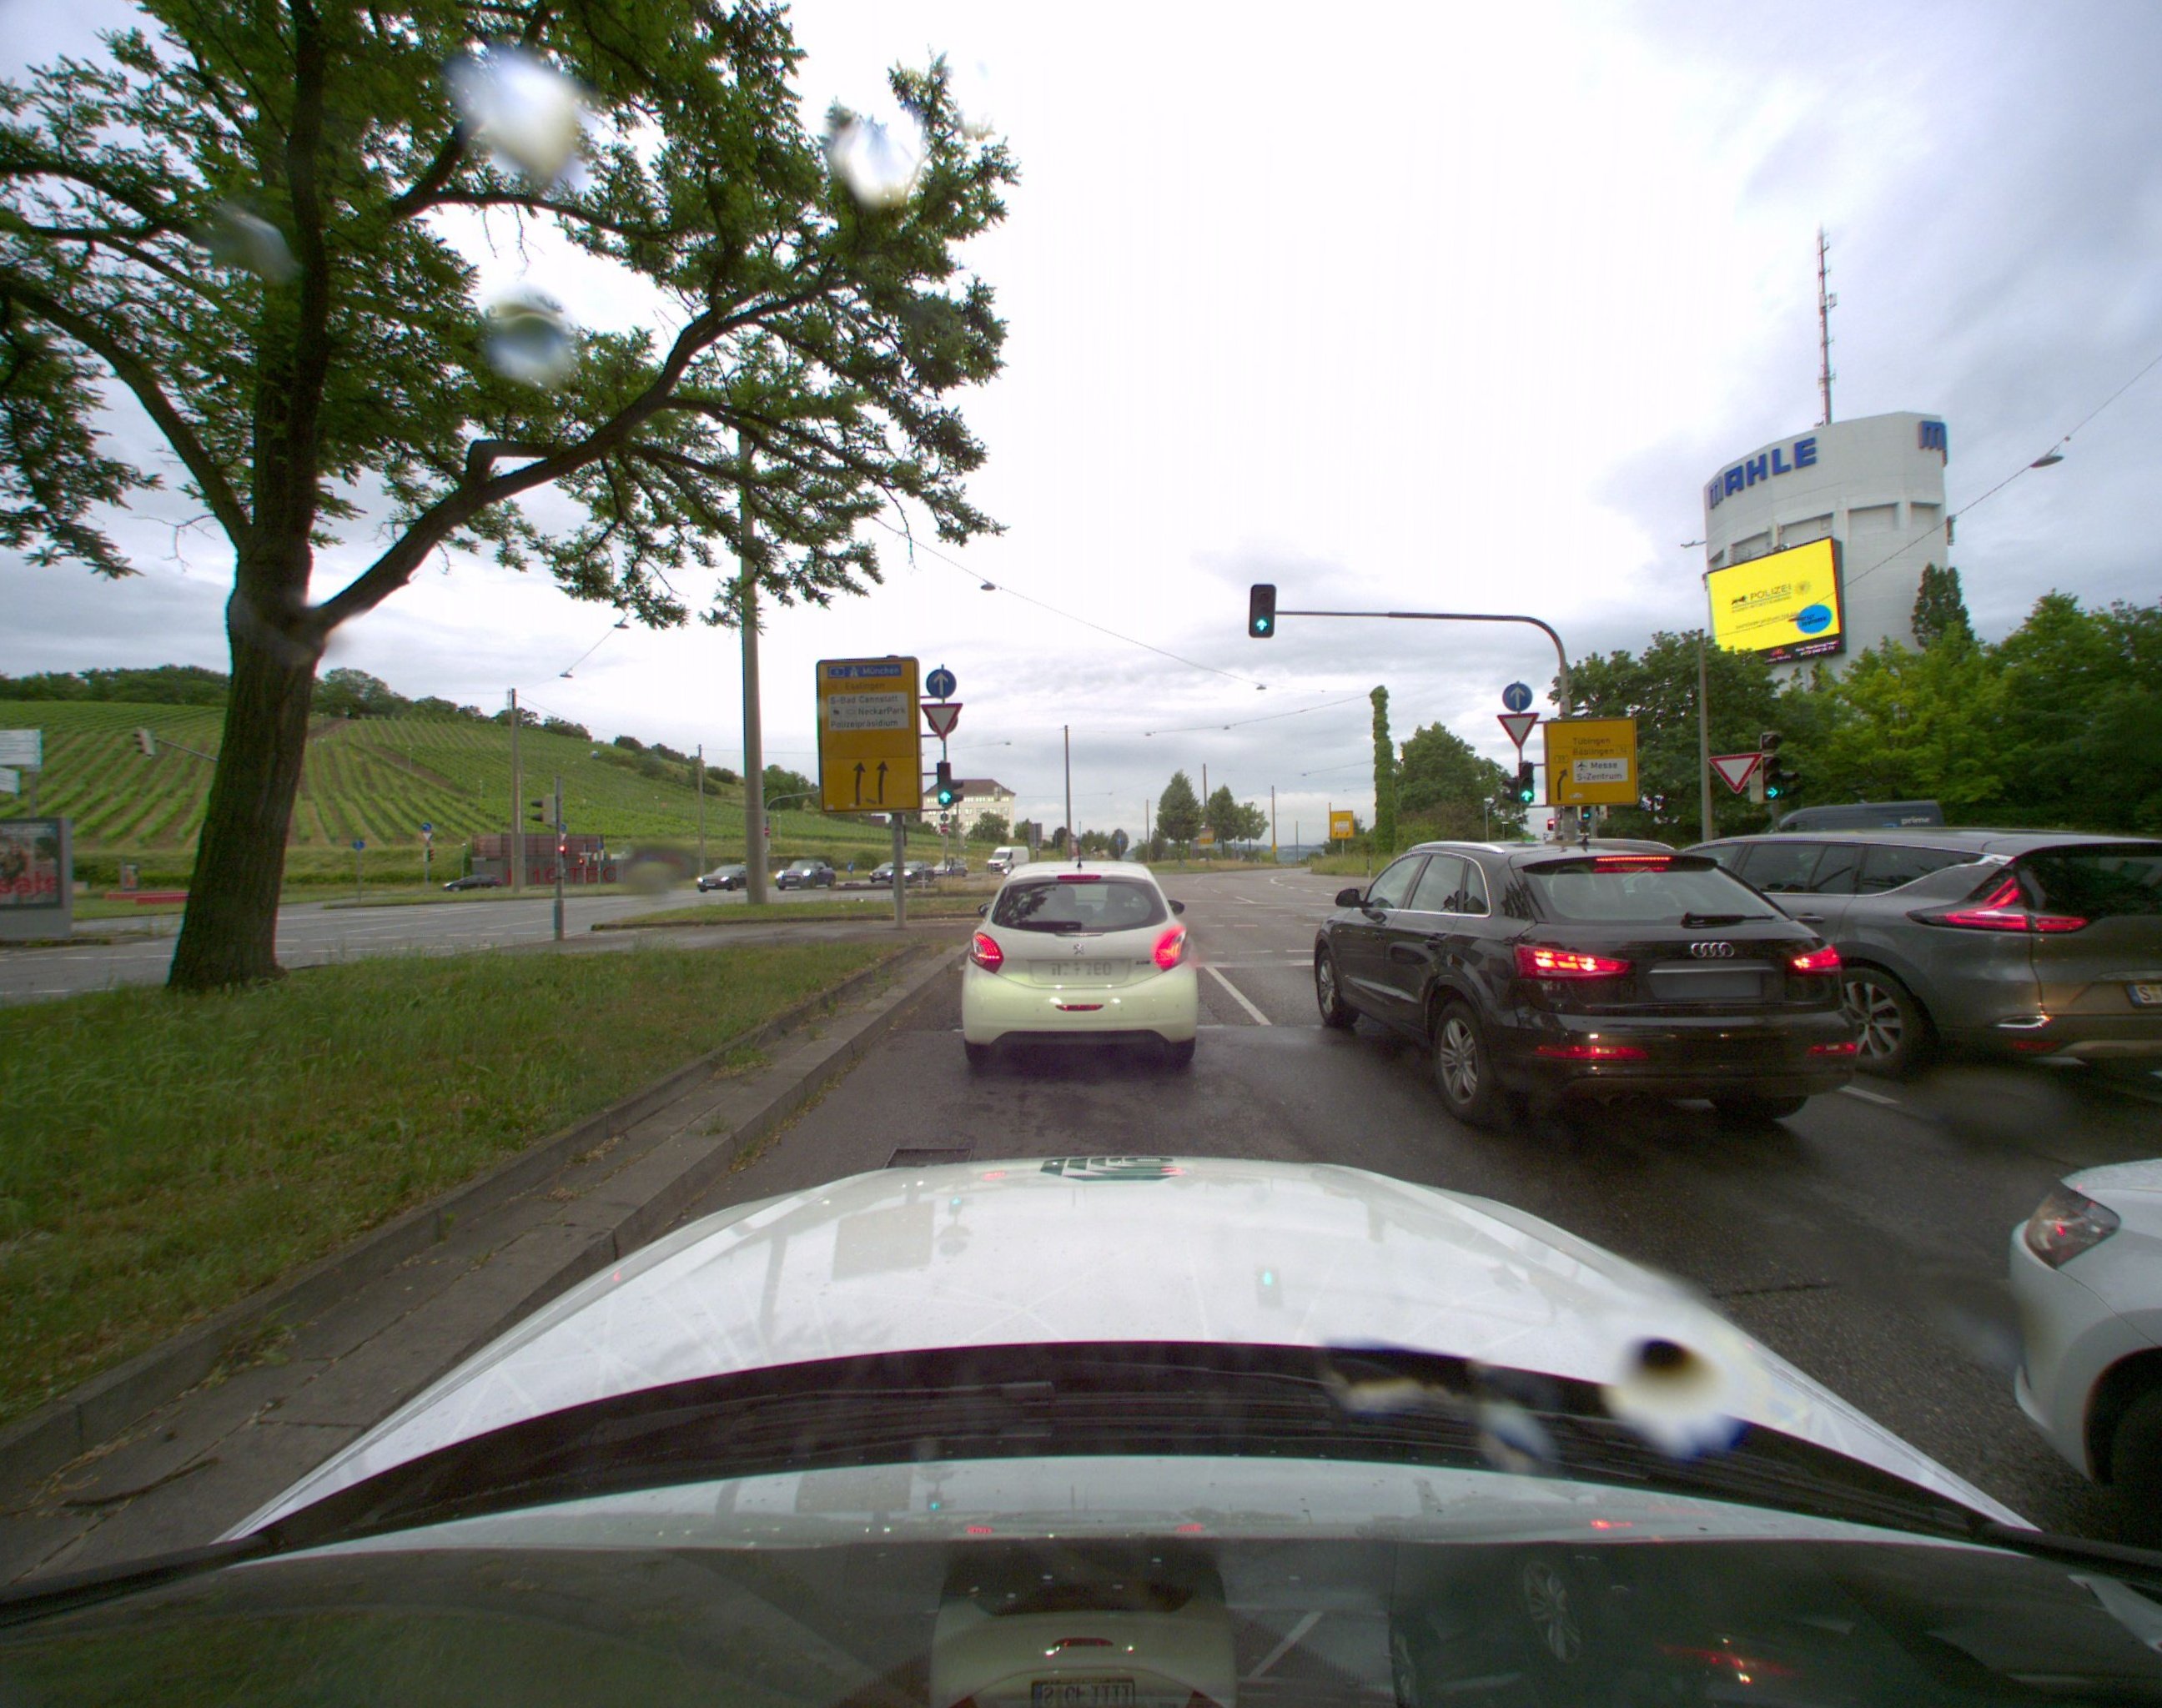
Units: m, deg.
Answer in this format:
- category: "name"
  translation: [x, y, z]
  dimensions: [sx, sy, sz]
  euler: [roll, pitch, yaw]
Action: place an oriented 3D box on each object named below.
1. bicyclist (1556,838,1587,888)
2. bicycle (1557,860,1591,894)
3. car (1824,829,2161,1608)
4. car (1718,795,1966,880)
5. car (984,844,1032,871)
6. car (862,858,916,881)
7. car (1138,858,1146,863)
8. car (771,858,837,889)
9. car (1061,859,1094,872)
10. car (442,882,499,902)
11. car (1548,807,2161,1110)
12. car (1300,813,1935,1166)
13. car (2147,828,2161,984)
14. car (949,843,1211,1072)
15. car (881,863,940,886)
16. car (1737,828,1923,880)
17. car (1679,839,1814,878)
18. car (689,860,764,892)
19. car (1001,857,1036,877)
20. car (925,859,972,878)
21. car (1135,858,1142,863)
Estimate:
- category: "bicyclist"
  translation: [15.807, 0.279, 26.262]
  dimensions: [0.801, 1.584, 1.029]
  euler: [0, -1, 28]
- category: "bicycle"
  translation: [15.929, 0.737, 26.340]
  dimensions: [0.801, 1.023, 2.343]
  euler: [-3, -1, 29]
- category: "car"
  translation: [2.830, 0.665, 0.286]
  dimensions: [1.734, 1.432, 3.812]
  euler: [0, -1, 1]
- category: "car"
  translation: [26.331, -0.480, 28.548]
  dimensions: [5.954, 2.741, 2.094]
  euler: [-1, -2, 27]
- category: "car"
  translation: [-7.224, 0.382, 81.267]
  dimensions: [1.975, 2.559, 6.204]
  euler: [0, -1, 25]
- category: "car"
  translation: [-13.969, 1.107, 59.540]
  dimensions: [1.811, 1.472, 4.688]
  euler: [-1, 1, 15]
- category: "car"
  translation: [17.697, 1.887, 236.498]
  dimensions: [1.836, 1.486, 3.999]
  euler: [-1, 0, -1]
- category: "car"
  translation: [-13.424, 0.948, 39.755]
  dimensions: [1.780, 1.395, 3.883]
  euler: [0, -1, 2]
- category: "car"
  translation: [-0.355, 1.305, 95.024]
  dimensions: [1.974, 1.513, 4.258]
  euler: [0, -1, 30]
- category: "car"
  translation: [-51.093, 3.154, 68.174]
  dimensions: [3.786, 1.518, 1.839]
  euler: [1, -1, -39]
- category: "car"
  translation: [6.136, 0.549, 6.812]
  dimensions: [1.859, 1.674, 4.565]
  euler: [-1, 1, 0]
- category: "car"
  translation: [3.004, 0.636, 5.785]
  dimensions: [1.877, 1.595, 4.114]
  euler: [0, -1, 1]
- category: "car"
  translation: [10.312, 0.526, 5.686]
  dimensions: [1.847, 1.497, 4.177]
  euler: [-2, 1, 27]
- category: "car"
  translation: [0.027, 0.700, 7.379]
  dimensions: [1.712, 1.489, 4.000]
  euler: [-1, -1, 1]
- category: "car"
  translation: [-11.501, 1.382, 55.401]
  dimensions: [1.887, 1.489, 4.912]
  euler: [0, -1, 15]
- category: "car"
  translation: [24.111, 0.058, 26.421]
  dimensions: [4.012, 1.569, 1.881]
  euler: [-1, -2, 25]
- category: "car"
  translation: [28.449, 0.204, 34.978]
  dimensions: [4.094, 1.564, 1.881]
  euler: [-1, -1, 22]
- category: "car"
  translation: [-19.108, 1.144, 44.133]
  dimensions: [1.821, 1.623, 4.570]
  euler: [0, -1, 3]
- category: "car"
  translation: [-4.729, 1.013, 62.274]
  dimensions: [1.766, 1.425, 4.382]
  euler: [-2, -1, 7]
- category: "car"
  translation: [-11.296, 1.256, 69.671]
  dimensions: [1.975, 1.575, 4.219]
  euler: [0, -1, 24]
- category: "car"
  translation: [17.307, 1.964, 244.891]
  dimensions: [1.836, 1.486, 3.999]
  euler: [-1, 0, -1]
